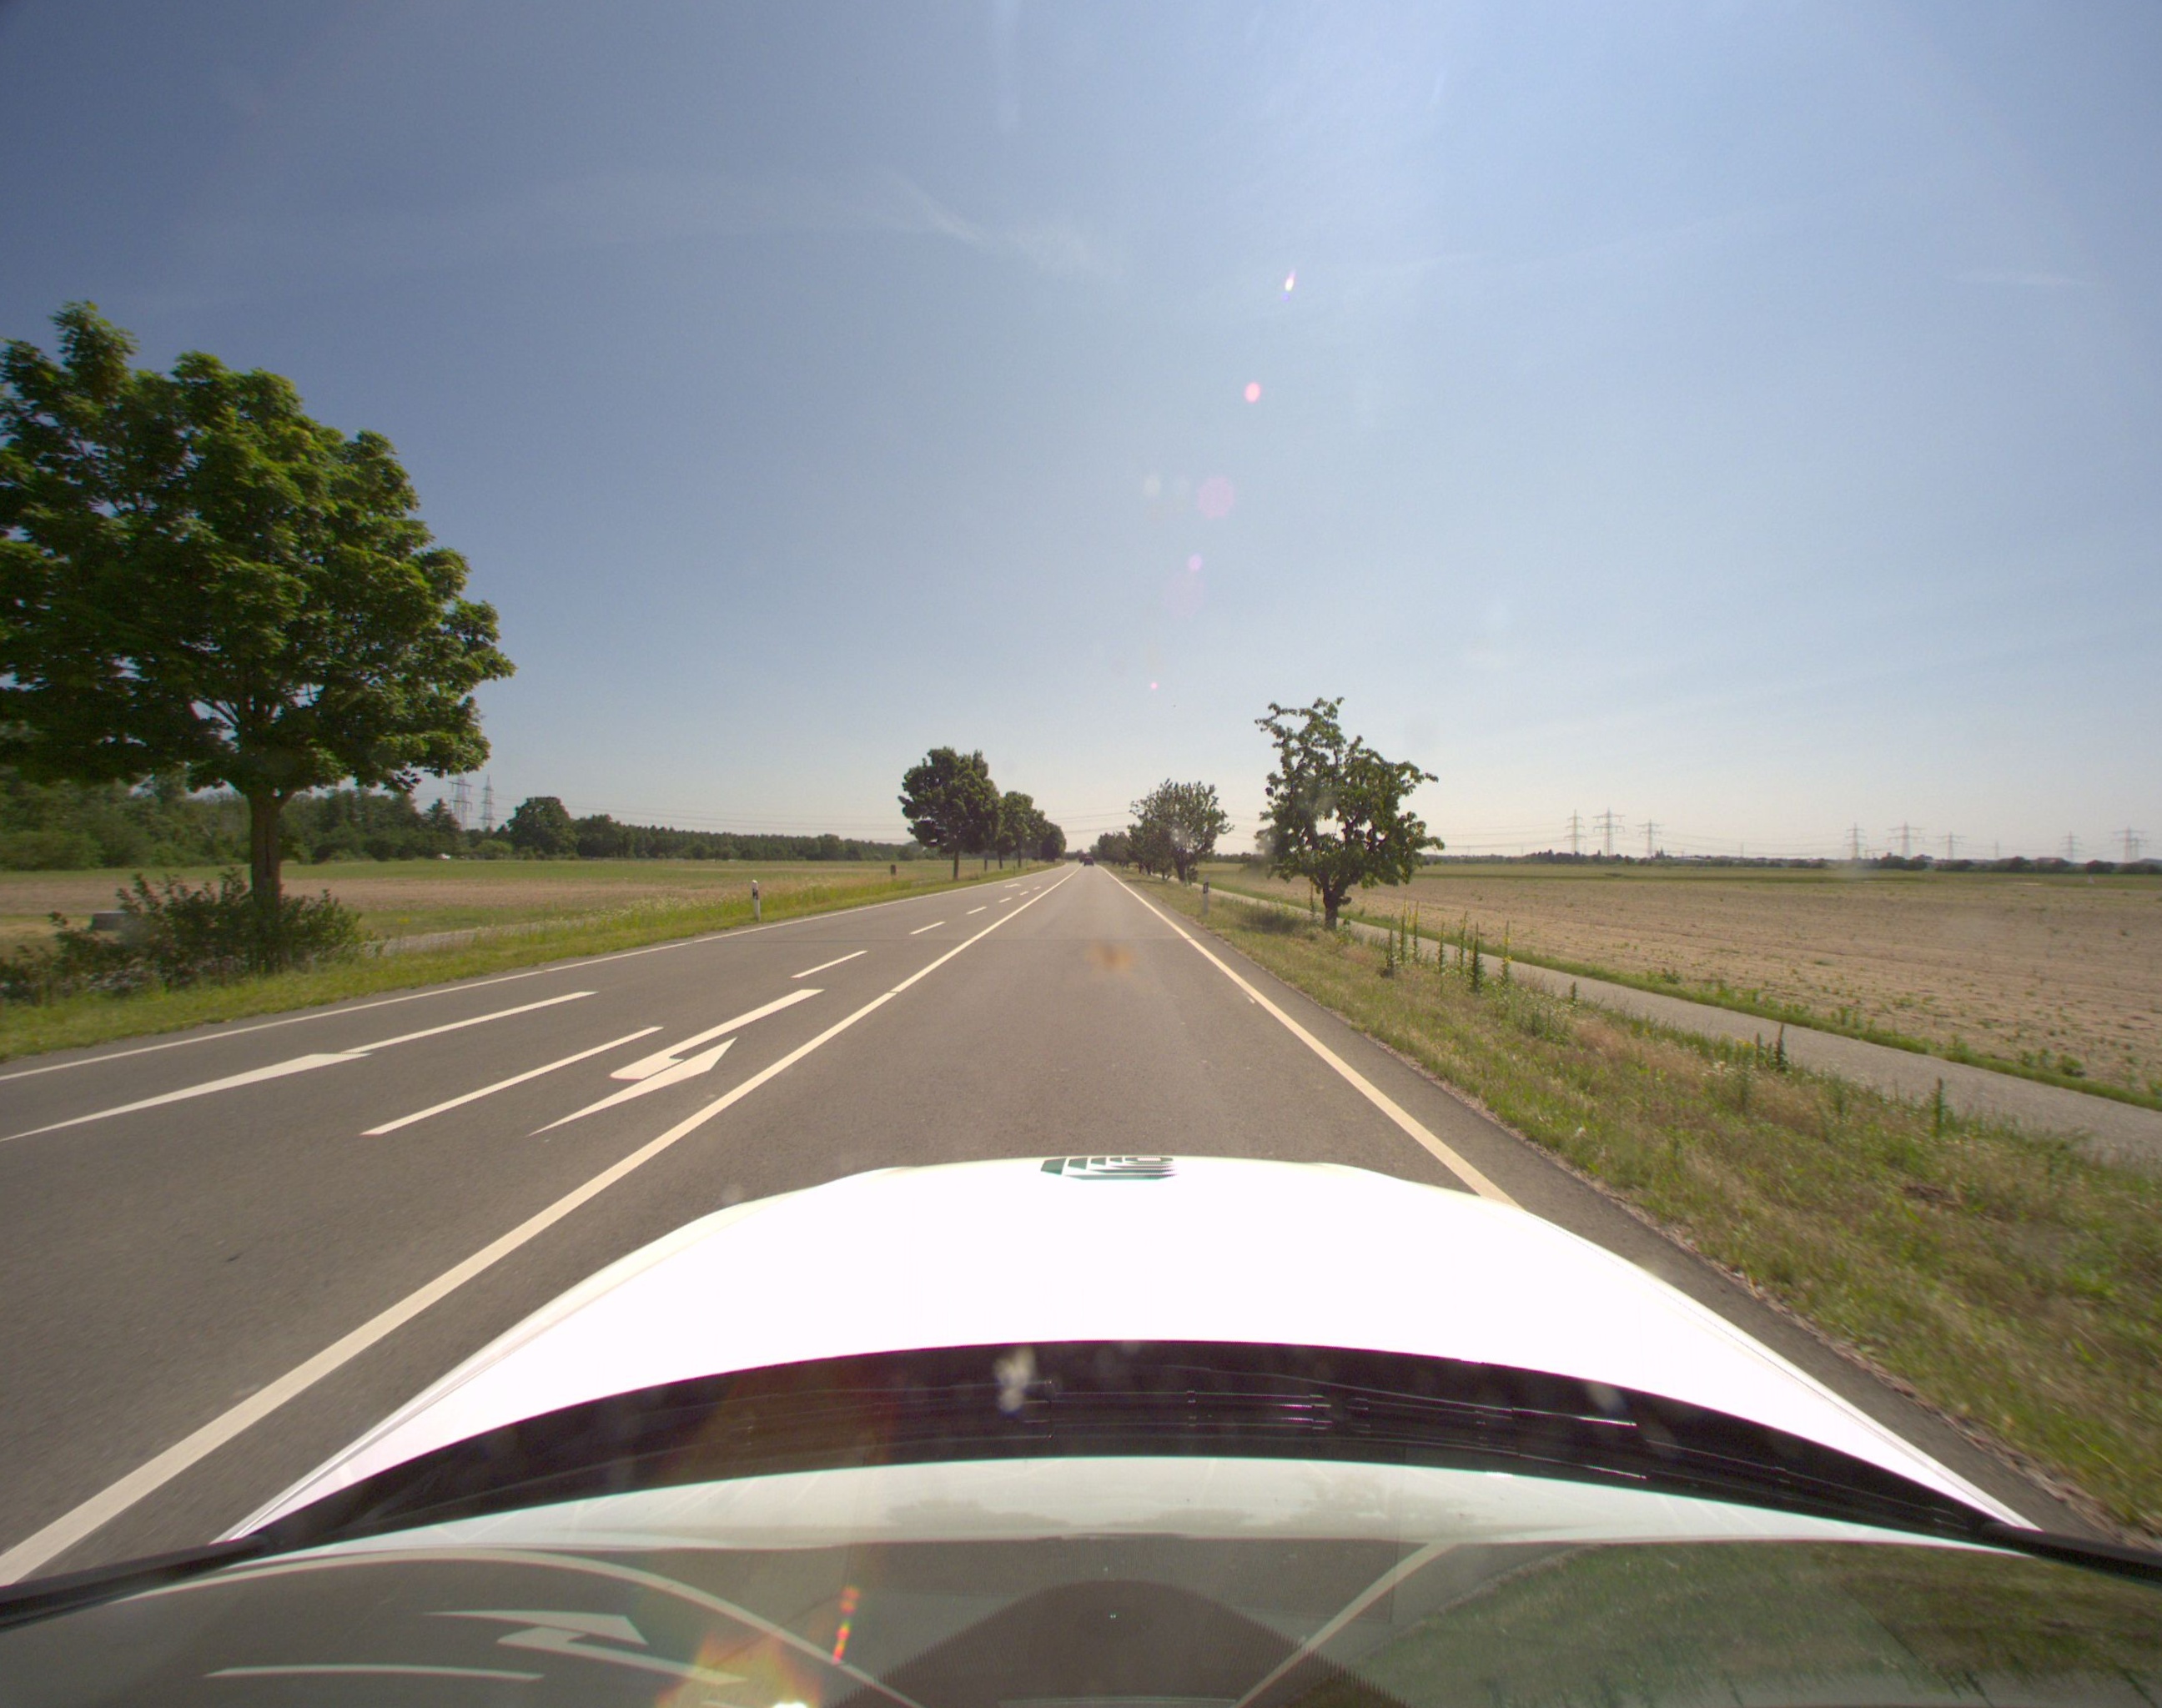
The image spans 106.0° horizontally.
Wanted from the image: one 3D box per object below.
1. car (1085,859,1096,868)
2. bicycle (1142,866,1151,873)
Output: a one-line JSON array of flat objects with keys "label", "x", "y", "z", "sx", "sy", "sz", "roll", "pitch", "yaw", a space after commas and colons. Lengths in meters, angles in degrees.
[{"label": "car", "x": 1.813, "y": 1.762, "z": 154.661, "sx": 1.878, "sy": 1.518, "sz": 4.039, "roll": 2, "pitch": 0, "yaw": 0}, {"label": "bicycle", "x": 11.150, "y": 2.676, "z": 138.520, "sx": 1.216, "sy": 1.165, "sz": 2.432, "roll": 2, "pitch": 0, "yaw": -4}]
